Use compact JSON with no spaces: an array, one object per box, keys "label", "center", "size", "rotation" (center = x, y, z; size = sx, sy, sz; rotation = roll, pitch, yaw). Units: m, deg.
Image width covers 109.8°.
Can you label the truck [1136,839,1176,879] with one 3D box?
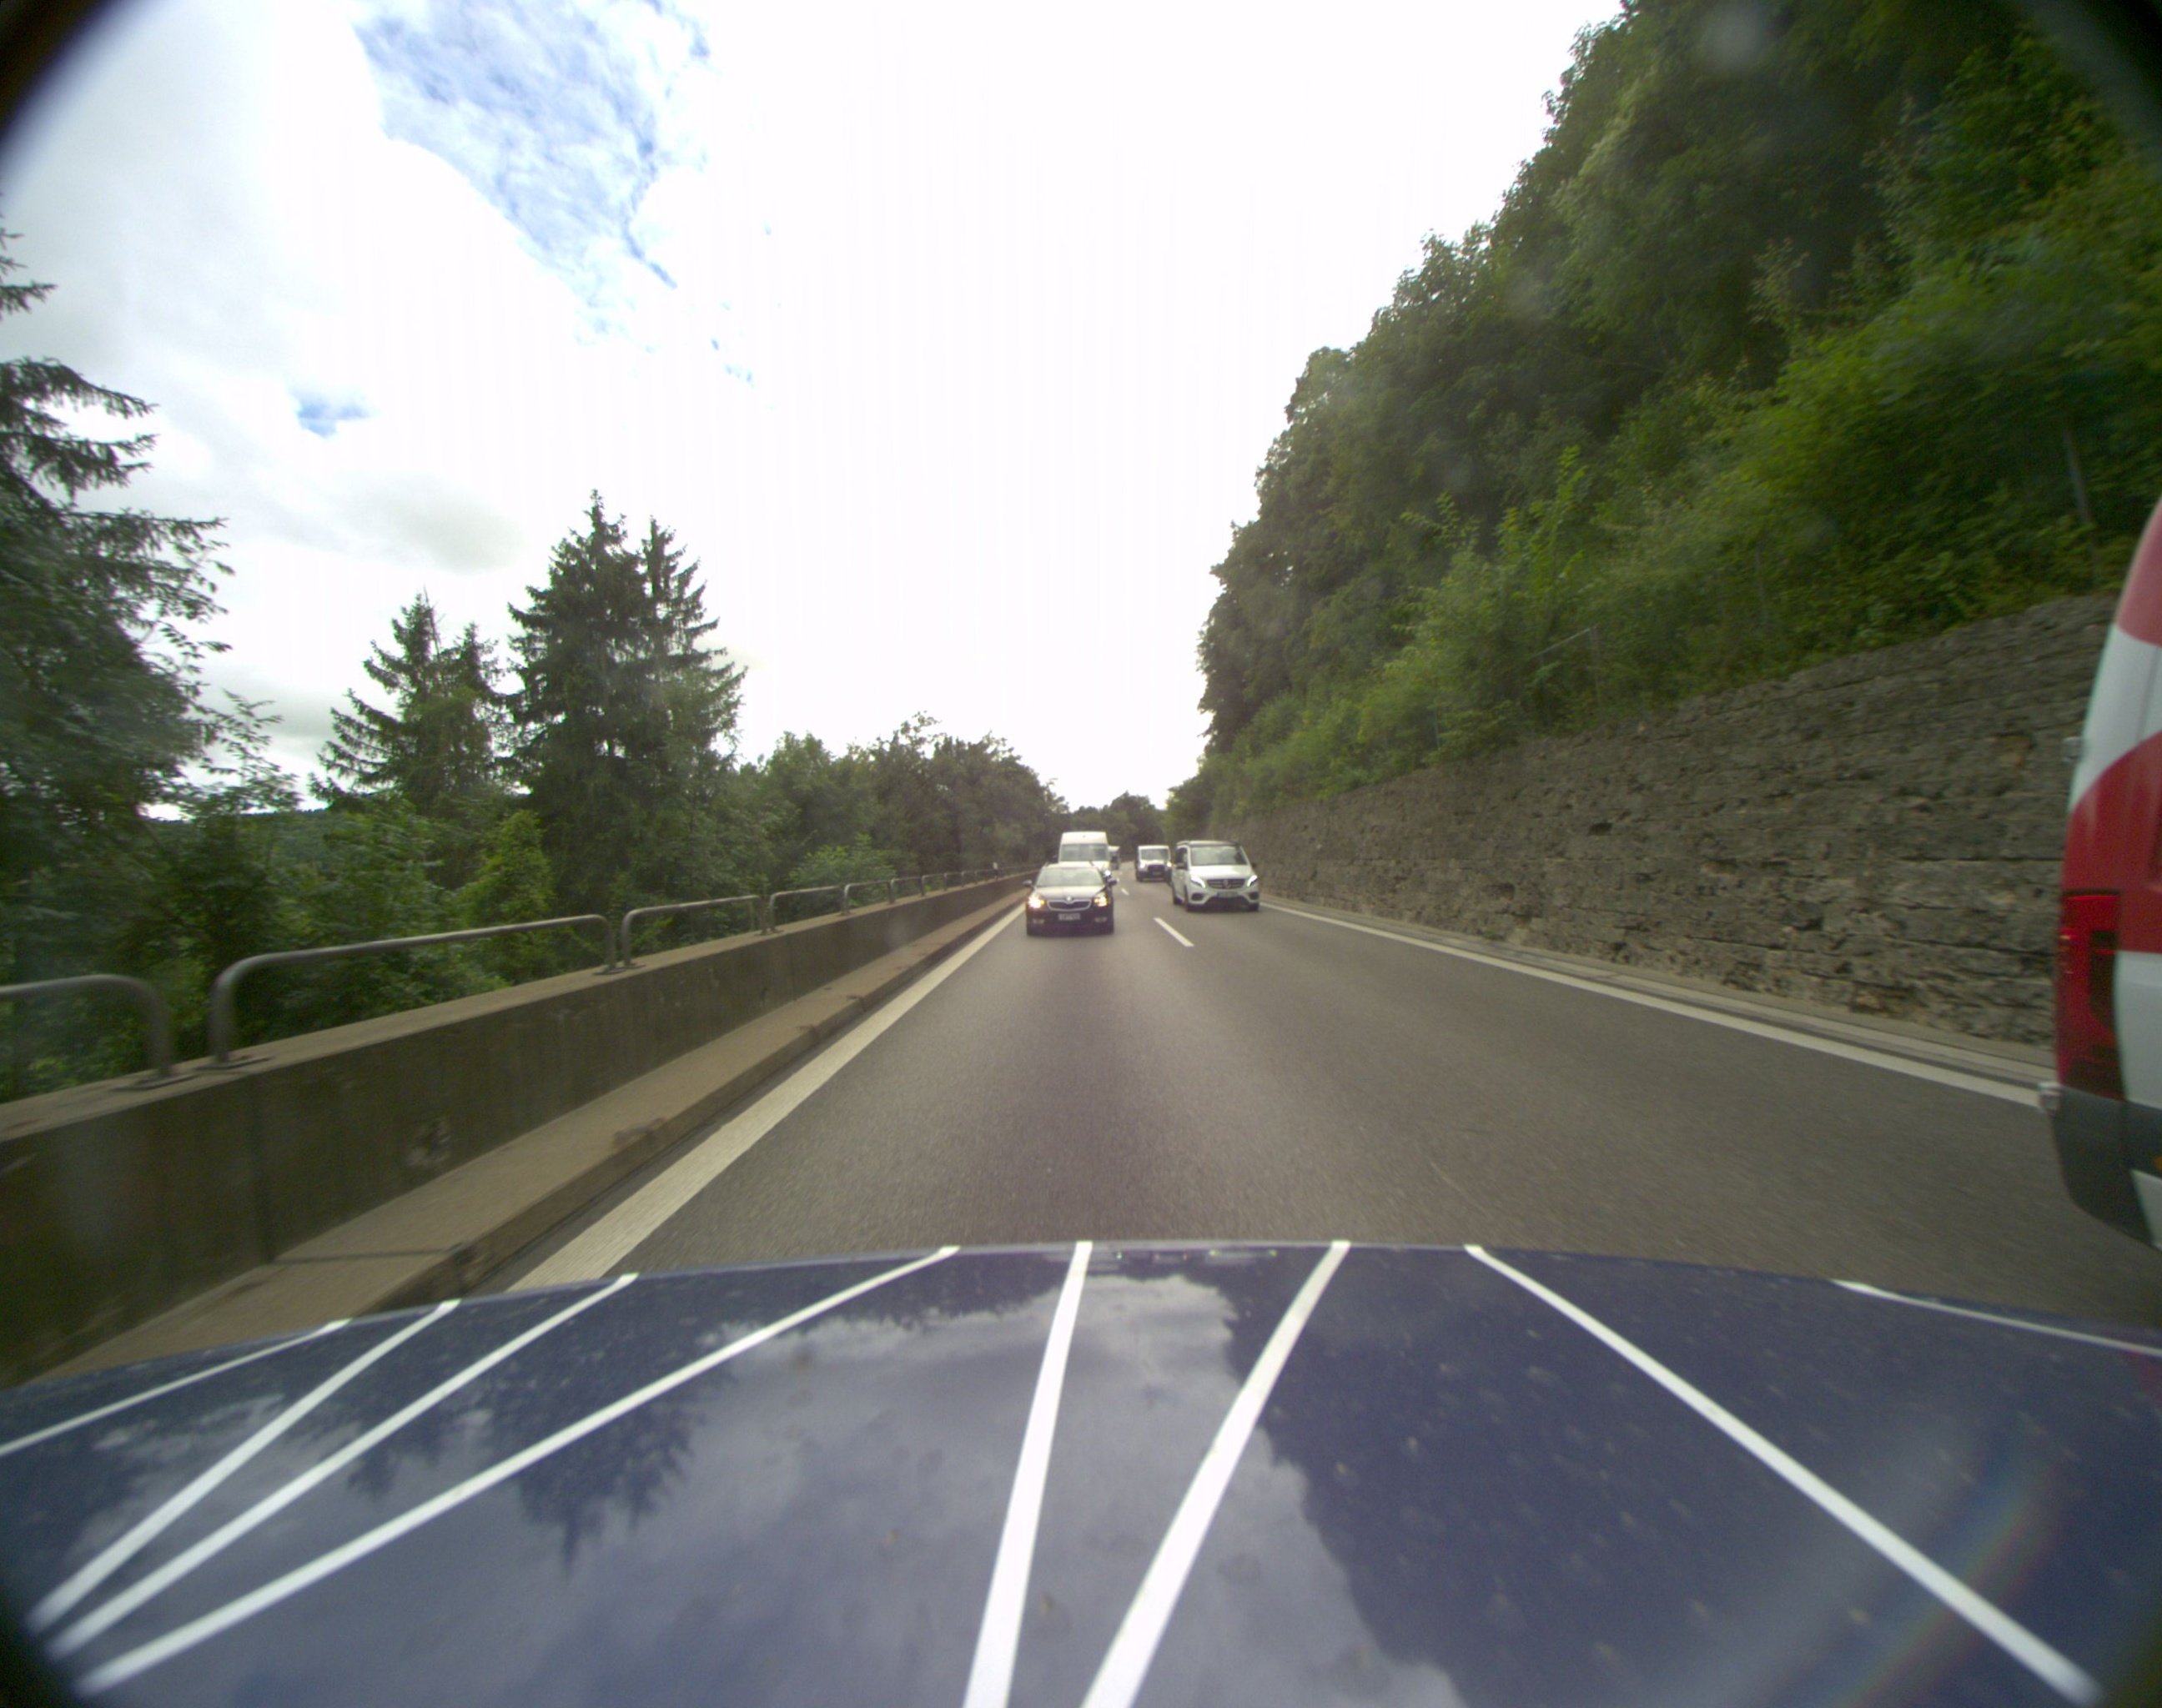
[{"label":"truck","center":[4.627,0.276,47.510],"size":[1.998,2.266,6.586],"rotation":[-3,0,2]}]

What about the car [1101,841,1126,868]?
[{"label":"car","center":[3.821,0.048,87.784],"size":[2.275,2.941,7.188],"rotation":[-2,1,6]}]

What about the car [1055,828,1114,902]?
[{"label":"car","center":[0.249,0.359,29.581],"size":[1.998,2.550,5.918],"rotation":[-2,1,3]}]

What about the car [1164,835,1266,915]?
[{"label":"car","center":[3.750,0.519,22.401],"size":[1.998,1.941,6.148],"rotation":[-3,0,2]}]

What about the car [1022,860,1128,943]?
[{"label":"car","center":[-0.185,0.923,17.200],"size":[1.913,1.391,5.695],"rotation":[-4,0,-1]}]

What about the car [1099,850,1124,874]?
[{"label":"car","center":[2.609,0.621,65.585],"size":[1.998,1.871,3.999],"rotation":[-2,1,2]}]
